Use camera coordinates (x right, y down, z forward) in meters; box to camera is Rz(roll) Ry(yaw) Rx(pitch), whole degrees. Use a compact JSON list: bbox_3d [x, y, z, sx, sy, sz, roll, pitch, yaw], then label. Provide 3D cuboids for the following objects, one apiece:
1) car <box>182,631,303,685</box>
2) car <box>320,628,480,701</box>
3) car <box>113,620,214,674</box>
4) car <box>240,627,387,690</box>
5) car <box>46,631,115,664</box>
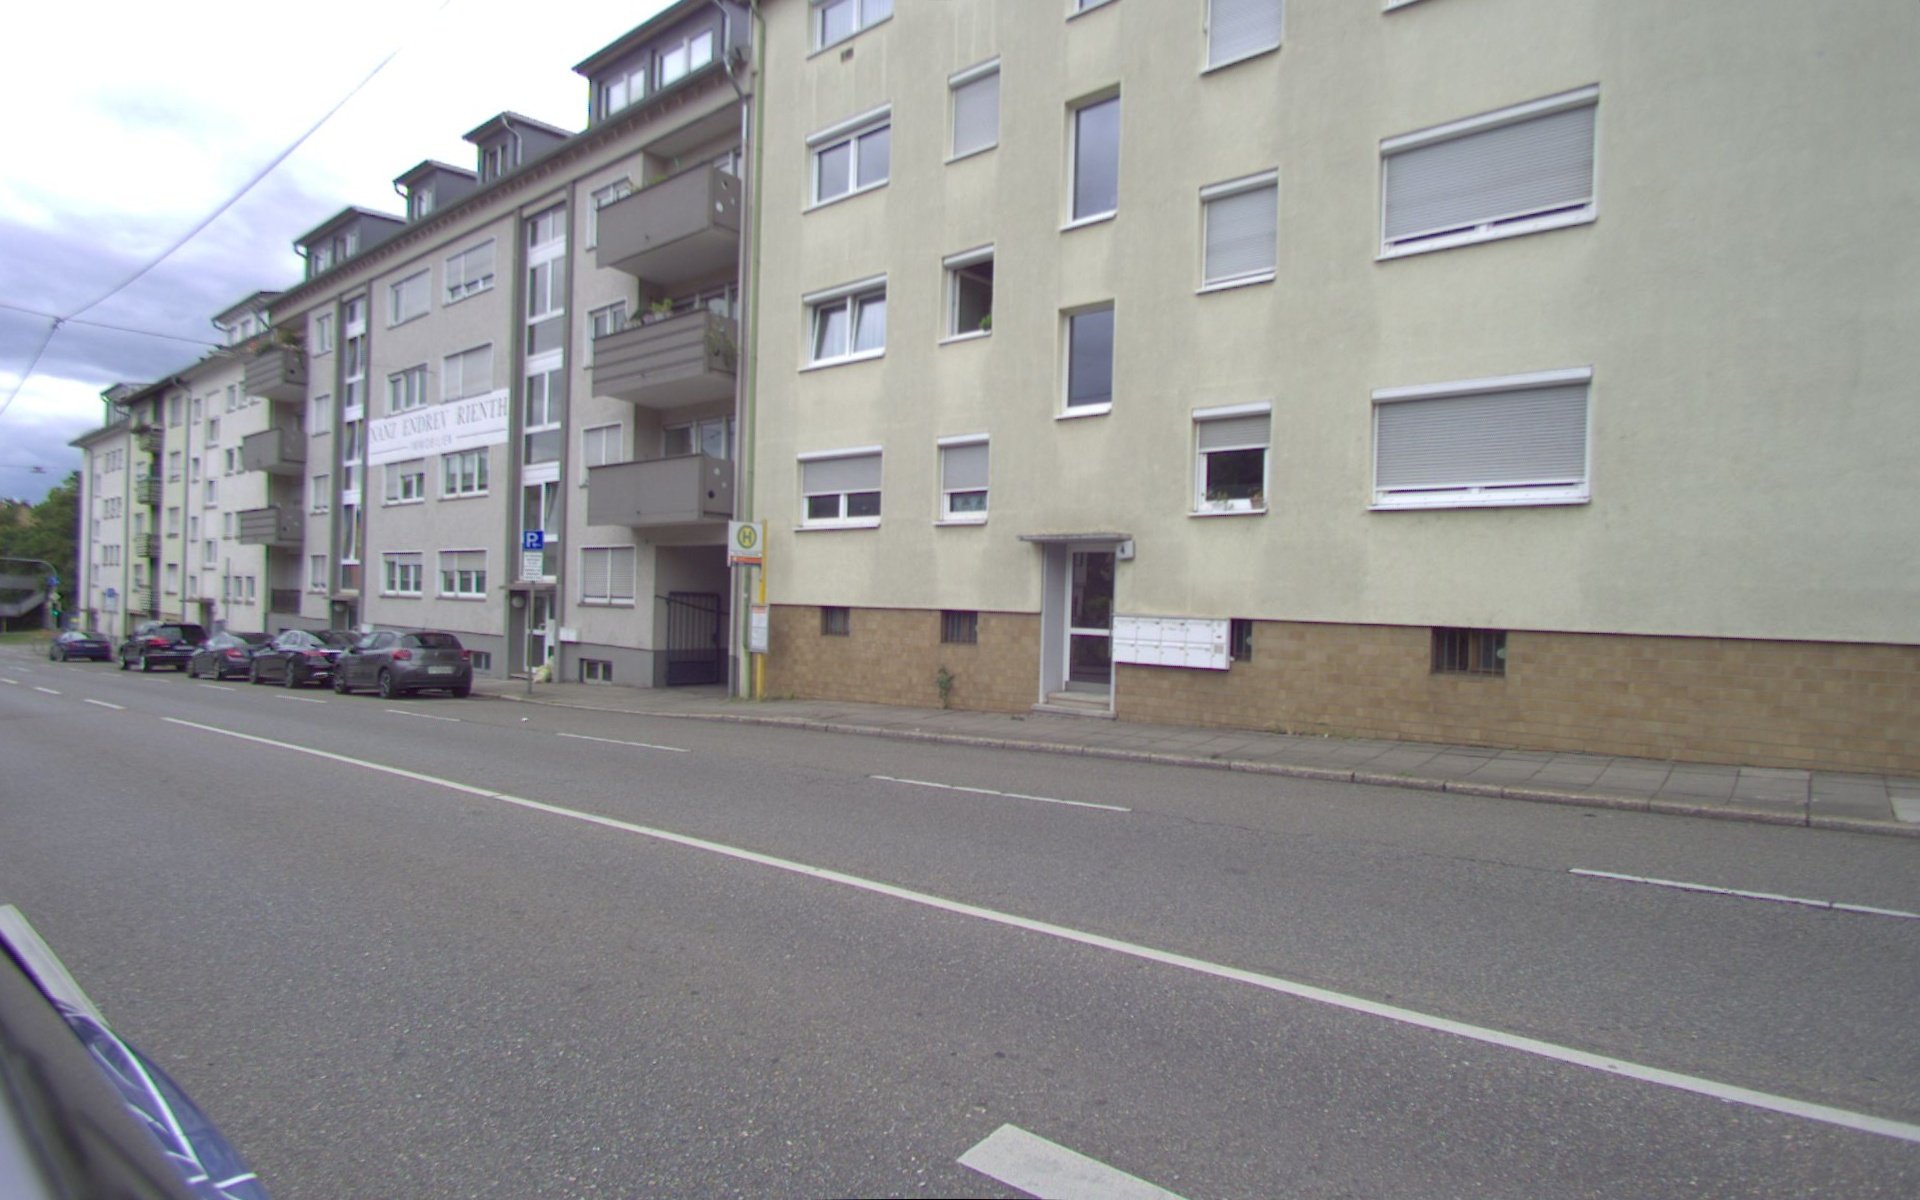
[{"bbox_3d":[-20.763,1.647,29.244,4.304,1.416,1.750,-1,-4,40],"label":"car"},{"bbox_3d":[-12.284,1.374,22.137,3.798,1.447,1.750,-1,-4,40],"label":"car"},{"bbox_3d":[-27.829,1.628,35.314,4.304,1.767,1.851,-1,-4,40],"label":"car"},{"bbox_3d":[-16.473,1.454,25.684,4.714,1.416,1.750,-1,-4,40],"label":"car"},{"bbox_3d":[-40.352,2.185,46.406,4.307,1.391,1.850,-1,-4,42],"label":"car"}]
